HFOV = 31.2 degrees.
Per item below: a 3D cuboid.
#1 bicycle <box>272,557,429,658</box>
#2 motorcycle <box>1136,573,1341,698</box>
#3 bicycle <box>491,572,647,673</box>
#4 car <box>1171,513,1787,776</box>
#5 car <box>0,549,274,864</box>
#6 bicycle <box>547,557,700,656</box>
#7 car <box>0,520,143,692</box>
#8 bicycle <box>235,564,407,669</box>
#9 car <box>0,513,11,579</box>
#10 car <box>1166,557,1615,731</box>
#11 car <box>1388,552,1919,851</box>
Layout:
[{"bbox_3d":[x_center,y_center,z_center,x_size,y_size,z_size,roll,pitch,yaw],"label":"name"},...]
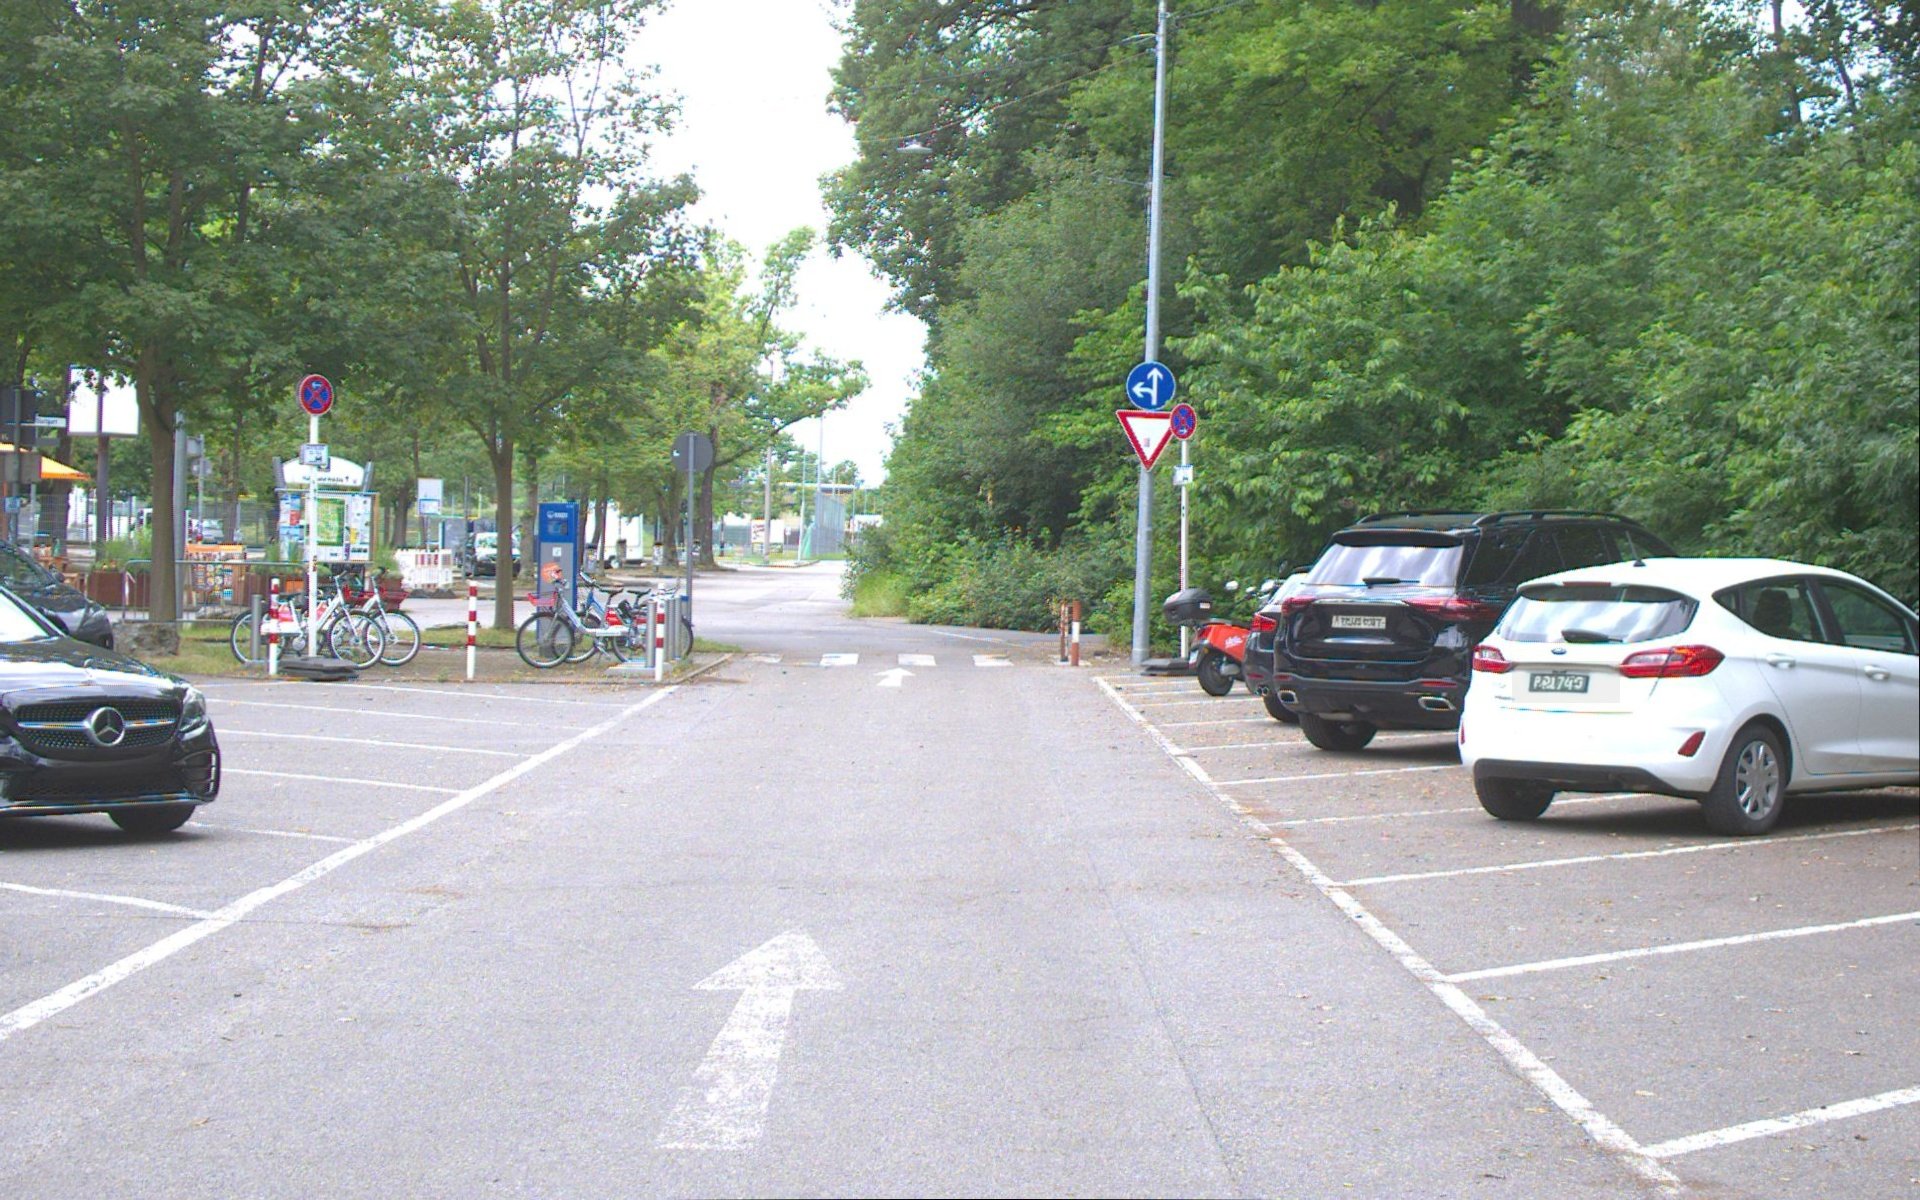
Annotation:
[{"bbox_3d":[-6.920,0.078,39.076,1.680,1.107,0.482,1,1,3],"label":"bicycle"},{"bbox_3d":[2.796,0.340,34.417,2.023,1.203,0.731,0,2,-35],"label":"motorcycle"},{"bbox_3d":[-4.434,0.252,39.038,1.680,1.107,0.506,1,1,6],"label":"bicycle"},{"bbox_3d":[3.942,0.278,25.579,4.696,1.761,2.111,0,1,-45],"label":"car"},{"bbox_3d":[-5.654,0.452,17.901,4.313,1.437,1.865,2,1,42],"label":"car"},{"bbox_3d":[-3.919,0.071,40.079,1.692,1.107,0.482,1,1,8],"label":"bicycle"},{"bbox_3d":[-9.545,0.001,32.370,1.825,1.518,4.098,-1,2,-43],"label":"car"},{"bbox_3d":[-6.982,0.173,37.581,1.783,1.107,0.482,1,1,3],"label":"bicycle"},{"bbox_3d":[-23.976,-1.338,82.894,1.993,1.546,4.001,1,1,-14],"label":"car"},{"bbox_3d":[3.778,0.329,29.769,3.989,1.371,1.739,-1,2,-44],"label":"car"},{"bbox_3d":[4.449,0.510,19.684,3.989,1.505,1.869,0,1,-45],"label":"car"}]
